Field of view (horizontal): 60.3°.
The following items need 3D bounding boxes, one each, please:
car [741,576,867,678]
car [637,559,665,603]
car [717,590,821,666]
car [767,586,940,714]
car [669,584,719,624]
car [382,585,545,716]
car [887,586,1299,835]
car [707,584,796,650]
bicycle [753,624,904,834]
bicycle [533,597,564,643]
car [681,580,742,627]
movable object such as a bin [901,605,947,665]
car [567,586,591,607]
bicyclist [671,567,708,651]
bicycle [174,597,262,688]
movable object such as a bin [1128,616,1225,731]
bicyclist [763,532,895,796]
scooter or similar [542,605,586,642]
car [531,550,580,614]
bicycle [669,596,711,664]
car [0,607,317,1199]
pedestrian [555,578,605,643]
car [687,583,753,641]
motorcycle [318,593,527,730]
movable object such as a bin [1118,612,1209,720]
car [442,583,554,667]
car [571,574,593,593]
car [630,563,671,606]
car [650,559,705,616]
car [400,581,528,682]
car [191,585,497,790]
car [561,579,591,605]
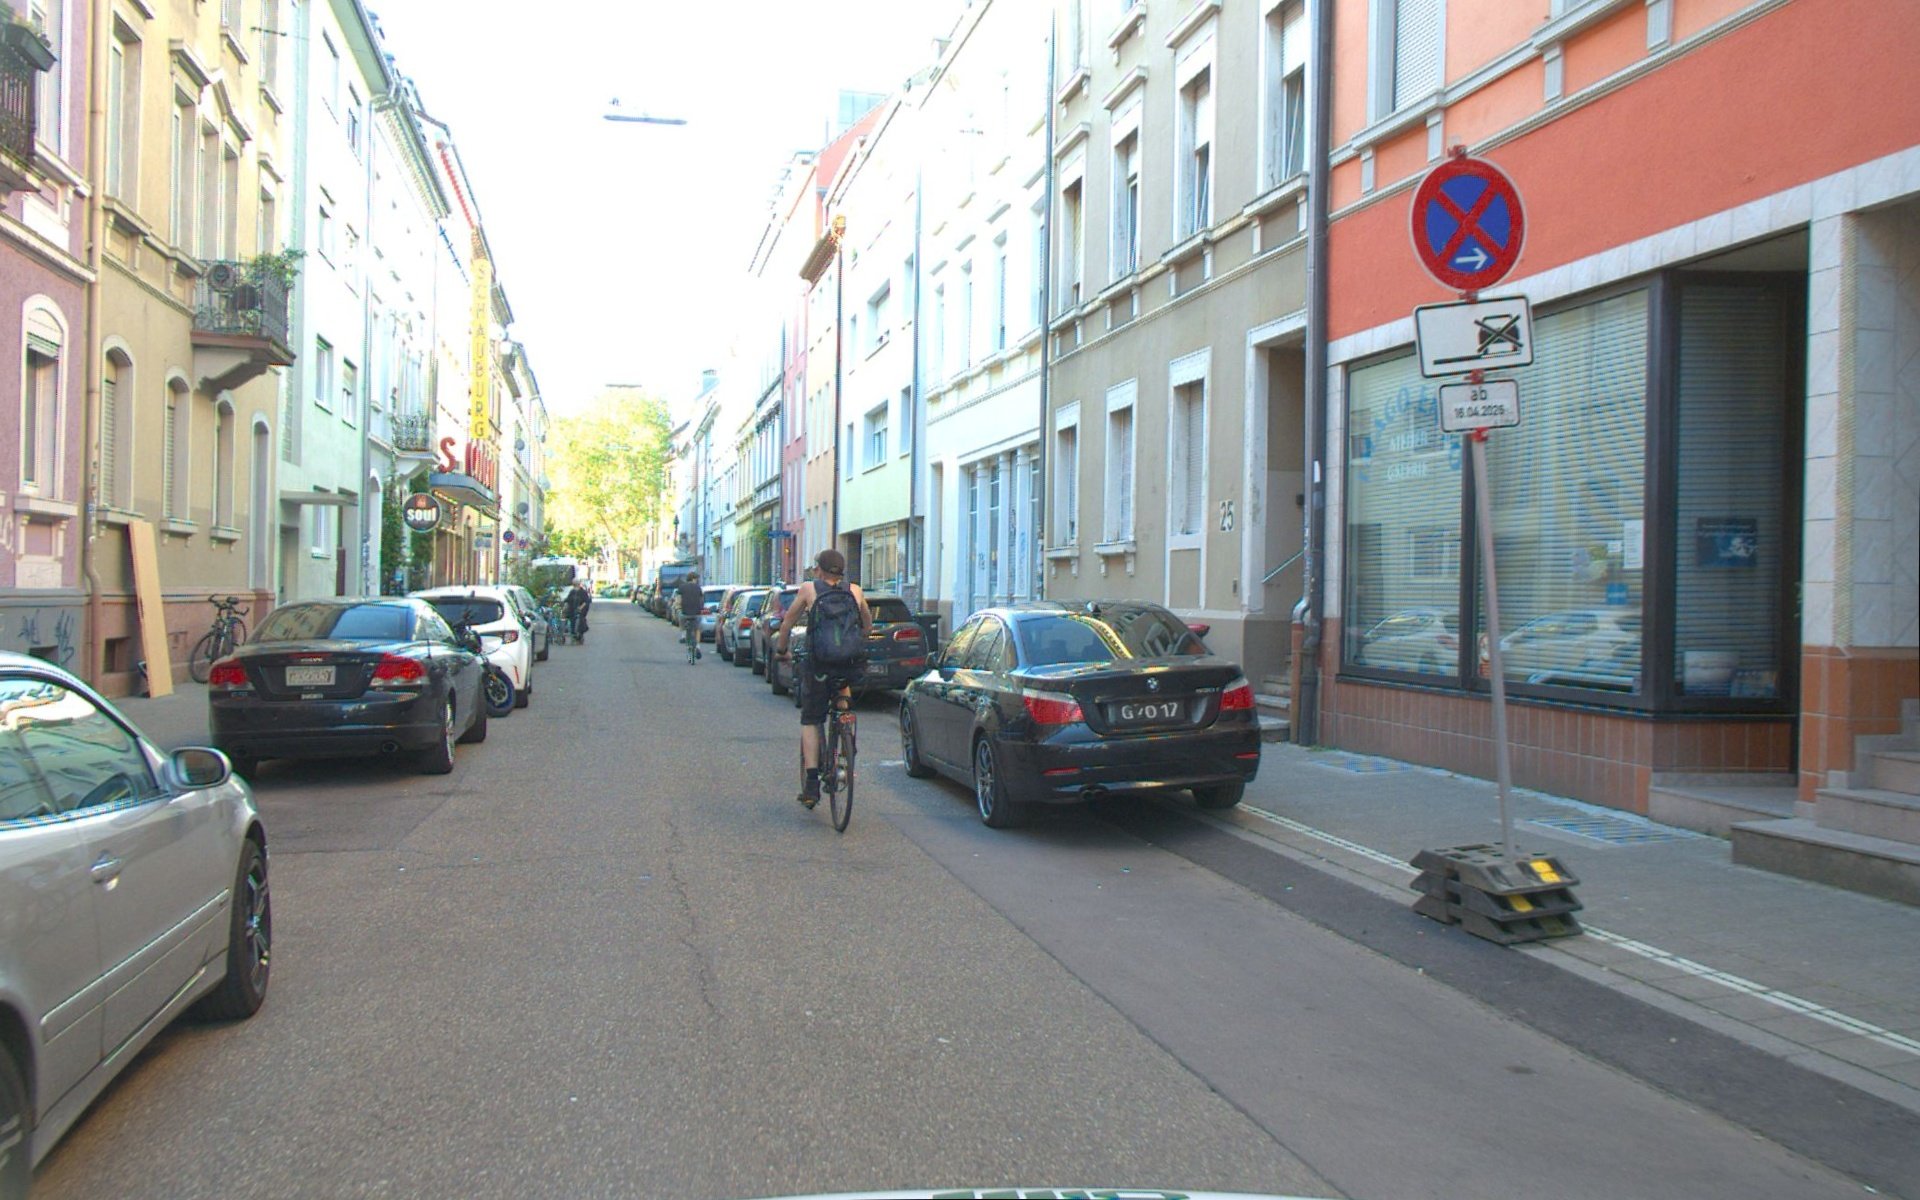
[{"bbox_3d":[-2.755,0.423,28.522,1.681,1.583,3.987,-1,0,-12],"label":"car"},{"bbox_3d":[-28.206,-1.710,150.724,2.267,3.833,6.748,-1,0,-12],"label":"car"},{"bbox_3d":[-3.899,0.524,33.326,1.681,1.407,3.987,-1,0,-12],"label":"car"},{"bbox_3d":[-1.560,0.617,22.776,1.785,1.548,3.987,-1,0,-12],"label":"car"},{"bbox_3d":[-10.361,0.137,64.213,1.681,1.472,3.987,-1,0,-12],"label":"car"},{"bbox_3d":[-6.255,0.575,21.203,1.643,1.467,4.152,-1,0,-12],"label":"car"},{"bbox_3d":[0.743,0.661,12.514,1.785,1.463,4.775,-1,0,-12],"label":"car"},{"bbox_3d":[-4.906,0.370,38.501,1.681,1.407,3.987,-1,0,-12],"label":"car"},{"bbox_3d":[-0.944,0.811,11.253,0.689,1.229,2.335,2,0,-12],"label":"bicycle"},{"bbox_3d":[-10.660,0.498,42.802,0.688,1.125,2.265,2,0,-16],"label":"bicycle"},{"bbox_3d":[-8.024,0.101,53.228,1.681,1.418,3.987,-1,0,-12],"label":"car"},{"bbox_3d":[-0.691,0.668,31.636,0.792,1.094,0.676,-2,0,-8],"label":"movable object such as a bin"},{"bbox_3d":[-27.980,-0.263,121.668,1.643,1.467,4.152,-1,0,-12],"label":"car"},{"bbox_3d":[-5.341,0.173,32.641,0.690,1.633,0.810,0,1,-13],"label":"bicyclist"},{"bbox_3d":[-9.647,0.526,21.568,0.582,1.108,2.073,2,0,-12],"label":"bicycle"},{"bbox_3d":[2.160,0.720,16.548,0.725,1.094,0.674,-2,0,-19],"label":"movable object such as a bin"},{"bbox_3d":[-0.893,0.410,11.045,0.690,1.662,1.087,2,-1,-12],"label":"bicyclist"},{"bbox_3d":[-9.892,0.598,41.293,0.759,0.888,0.766,2,-1,42],"label":"scooter or similar"},{"bbox_3d":[-16.478,-0.741,67.389,1.877,2.540,4.150,0,1,-14],"label":"car"},{"bbox_3d":[-5.355,0.573,32.743,0.690,1.229,2.335,0,2,-13],"label":"bicycle"},{"bbox_3d":[-2.928,0.755,4.229,1.681,1.407,4.491,-1,0,-12],"label":"car"},{"bbox_3d":[-9.574,0.260,41.659,0.759,1.606,0.895,1,-1,42],"label":"pedestrian"},{"bbox_3d":[-6.986,0.317,47.888,1.592,1.577,3.987,-1,0,-12],"label":"car"},{"bbox_3d":[-5.989,0.656,18.500,2.124,1.383,0.534,-3,2,-31],"label":"motorcycle"},{"bbox_3d":[2.171,0.690,17.674,0.792,1.094,0.676,-2,0,-8],"label":"movable object such as a bin"},{"bbox_3d":[-8.759,0.438,31.576,1.641,1.467,3.745,-1,0,-10],"label":"car"},{"bbox_3d":[-30.580,-1.327,133.936,1.643,1.467,4.152,-1,0,-12],"label":"car"},{"bbox_3d":[-19.539,-0.958,104.256,2.267,2.582,6.748,-1,0,-12],"label":"car"},{"bbox_3d":[-13.636,-0.603,79.581,2.267,2.582,6.748,-1,0,-12],"label":"car"},{"bbox_3d":[-7.910,0.465,26.634,1.643,1.467,3.756,-1,0,-12],"label":"car"},{"bbox_3d":[-5.071,0.621,14.194,1.679,1.407,4.346,1,1,-10],"label":"car"},{"bbox_3d":[-23.076,-0.487,99.519,1.643,1.467,4.152,-1,0,-12],"label":"car"}]
